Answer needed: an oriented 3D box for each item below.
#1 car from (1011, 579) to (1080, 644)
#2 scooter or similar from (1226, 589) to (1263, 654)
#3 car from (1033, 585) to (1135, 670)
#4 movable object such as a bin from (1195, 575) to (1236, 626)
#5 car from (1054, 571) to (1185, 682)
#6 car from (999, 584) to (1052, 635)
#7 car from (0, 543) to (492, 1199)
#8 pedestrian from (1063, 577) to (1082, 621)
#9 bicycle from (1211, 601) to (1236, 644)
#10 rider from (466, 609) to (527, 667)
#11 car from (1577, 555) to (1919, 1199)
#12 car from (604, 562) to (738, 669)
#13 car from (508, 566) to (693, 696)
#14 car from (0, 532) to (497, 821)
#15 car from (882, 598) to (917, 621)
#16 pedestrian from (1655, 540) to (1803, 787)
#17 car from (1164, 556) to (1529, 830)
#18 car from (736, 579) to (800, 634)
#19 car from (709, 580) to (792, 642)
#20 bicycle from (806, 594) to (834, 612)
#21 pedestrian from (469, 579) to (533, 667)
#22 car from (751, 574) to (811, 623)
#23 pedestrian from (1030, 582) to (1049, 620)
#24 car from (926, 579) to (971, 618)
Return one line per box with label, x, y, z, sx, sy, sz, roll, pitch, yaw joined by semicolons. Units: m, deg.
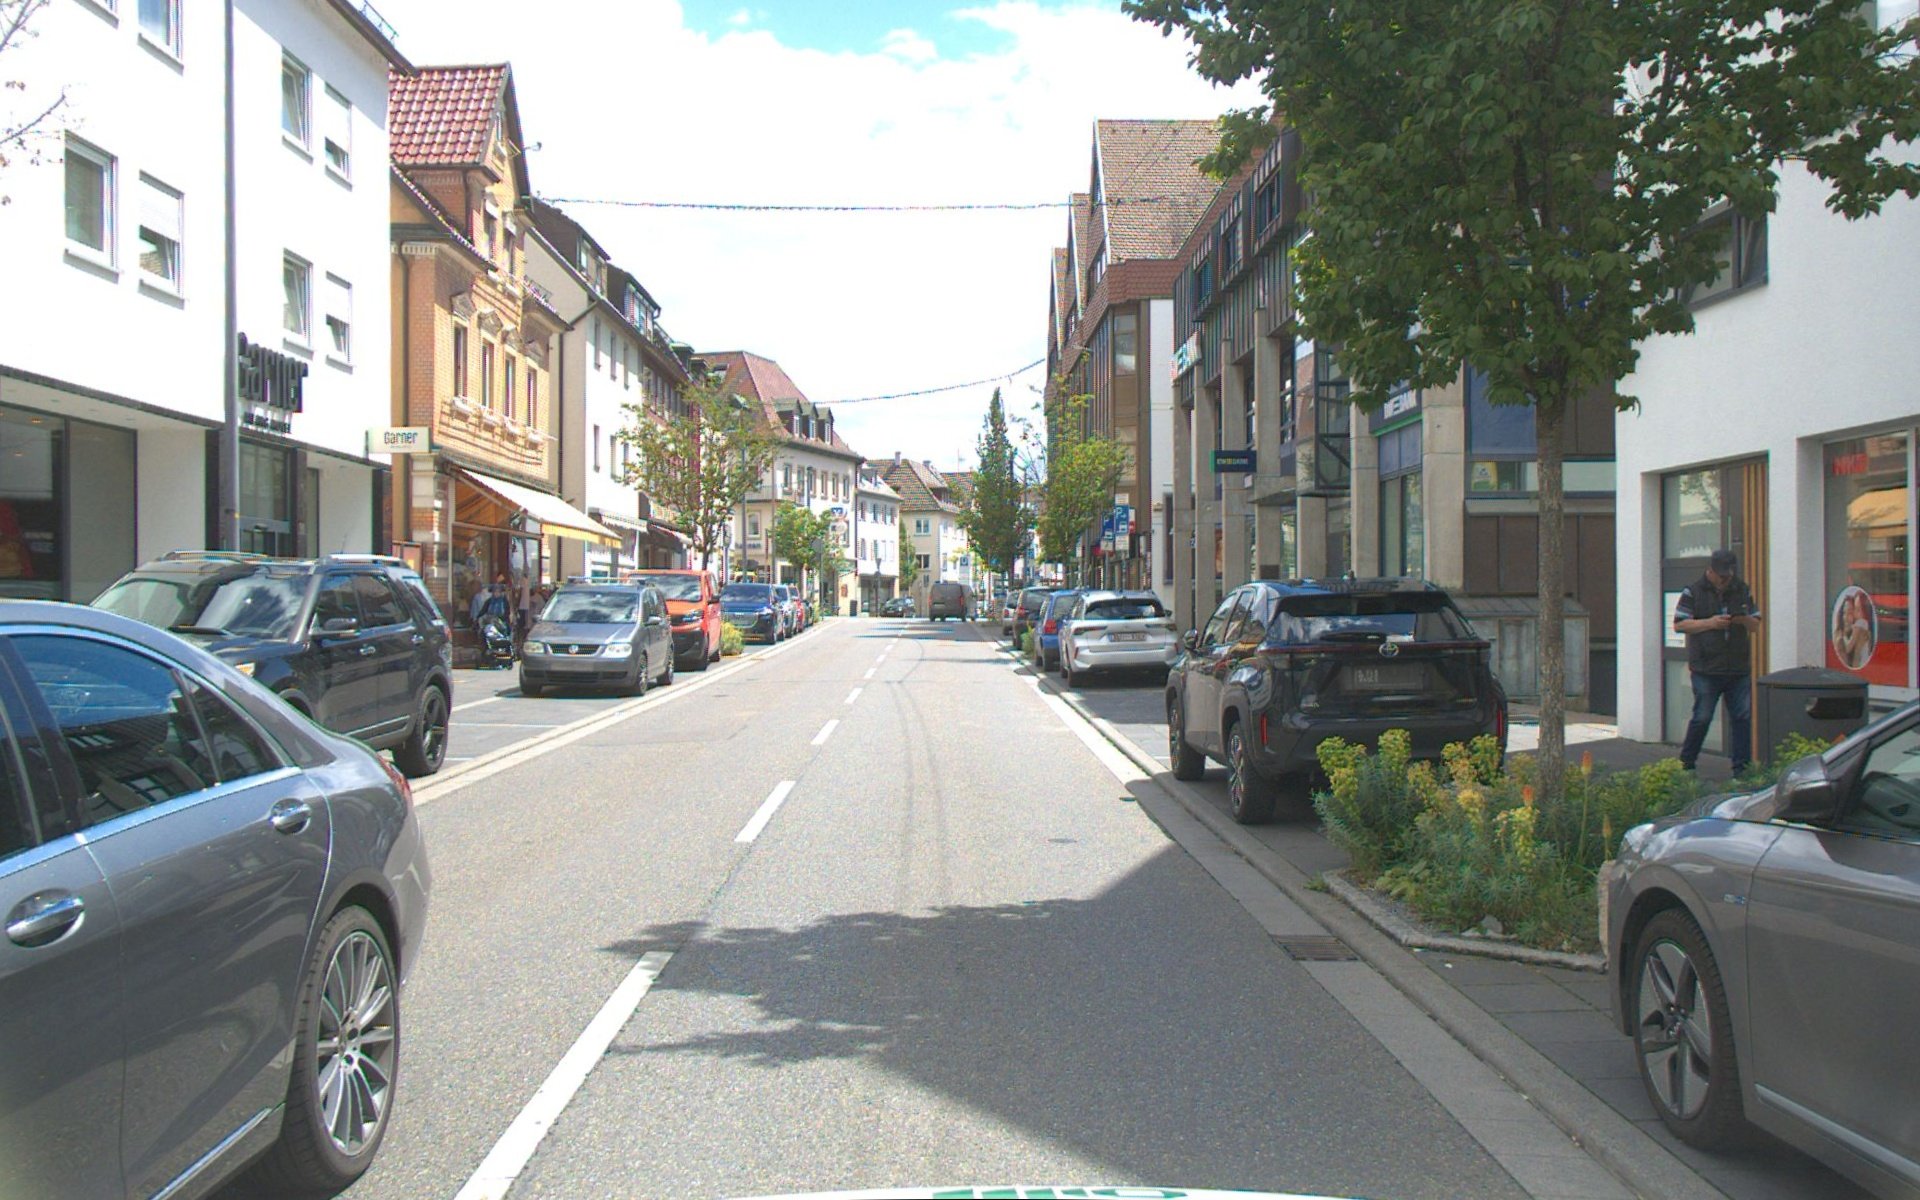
car;2.177;0.277;42.813;1.576;1.559;3.795;-1;0;0
scooter or similar;5.703;0.427;33.199;0.413;1.267;1.561;1;-1;-1
car;2.349;0.522;32.229;1.686;1.520;4.109;1;0;0
movable object such as a bin;7.967;0.031;51.688;1.118;1.554;1.032;1;-1;2
car;2.492;0.408;26.706;1.686;1.604;4.428;1;0;0
car;2.143;0.289;54.912;1.576;1.521;3.795;-3;0;0
car;-2.370;0.700;2.769;1.866;1.590;4.646;1;2;-1
pedestrian;4.780;-0.057;70.256;0.722;1.846;0.711;1;-1;-1
bicycle;7.127;0.599;44.790;0.416;1.139;1.741;1;0;1
rider;-8.419;0.685;30.037;0.787;1.031;0.707;1;-1;21
car;2.857;0.672;3.101;1.686;1.501;4.353;1;0;-1
car;-5.648;0.299;32.903;1.779;1.922;4.840;1;0;0
car;-5.399;0.455;25.421;1.779;1.786;4.464;1;0;0
car;-5.209;0.499;12.777;1.778;1.786;4.669;1;0;2
car;-4.189;0.665;114.177;1.590;1.512;3.808;1;0;10
pedestrian;5.718;0.462;12.326;0.726;1.767;0.757;1;-1;-1
car;2.570;0.572;11.971;1.686;1.604;4.109;1;0;0
car;-5.923;0.180;51.372;1.764;1.632;4.348;0;0;-4
car;-5.715;0.272;45.616;1.763;1.626;4.388;0;0;-1
bicycle;-8.596;0.189;101.402;1.597;1.049;0.568;1;-1;14
pedestrian;-8.509;0.419;30.671;0.789;1.602;0.779;1;-1;23
car;-6.118;-0.063;56.822;1.763;1.632;4.216;0;0;-3
pedestrian;3.492;0.059;72.821;0.768;1.644;0.800;1;-1;-1
car;-0.616;-0.047;83.962;2.000;1.880;4.996;1;0;-3
